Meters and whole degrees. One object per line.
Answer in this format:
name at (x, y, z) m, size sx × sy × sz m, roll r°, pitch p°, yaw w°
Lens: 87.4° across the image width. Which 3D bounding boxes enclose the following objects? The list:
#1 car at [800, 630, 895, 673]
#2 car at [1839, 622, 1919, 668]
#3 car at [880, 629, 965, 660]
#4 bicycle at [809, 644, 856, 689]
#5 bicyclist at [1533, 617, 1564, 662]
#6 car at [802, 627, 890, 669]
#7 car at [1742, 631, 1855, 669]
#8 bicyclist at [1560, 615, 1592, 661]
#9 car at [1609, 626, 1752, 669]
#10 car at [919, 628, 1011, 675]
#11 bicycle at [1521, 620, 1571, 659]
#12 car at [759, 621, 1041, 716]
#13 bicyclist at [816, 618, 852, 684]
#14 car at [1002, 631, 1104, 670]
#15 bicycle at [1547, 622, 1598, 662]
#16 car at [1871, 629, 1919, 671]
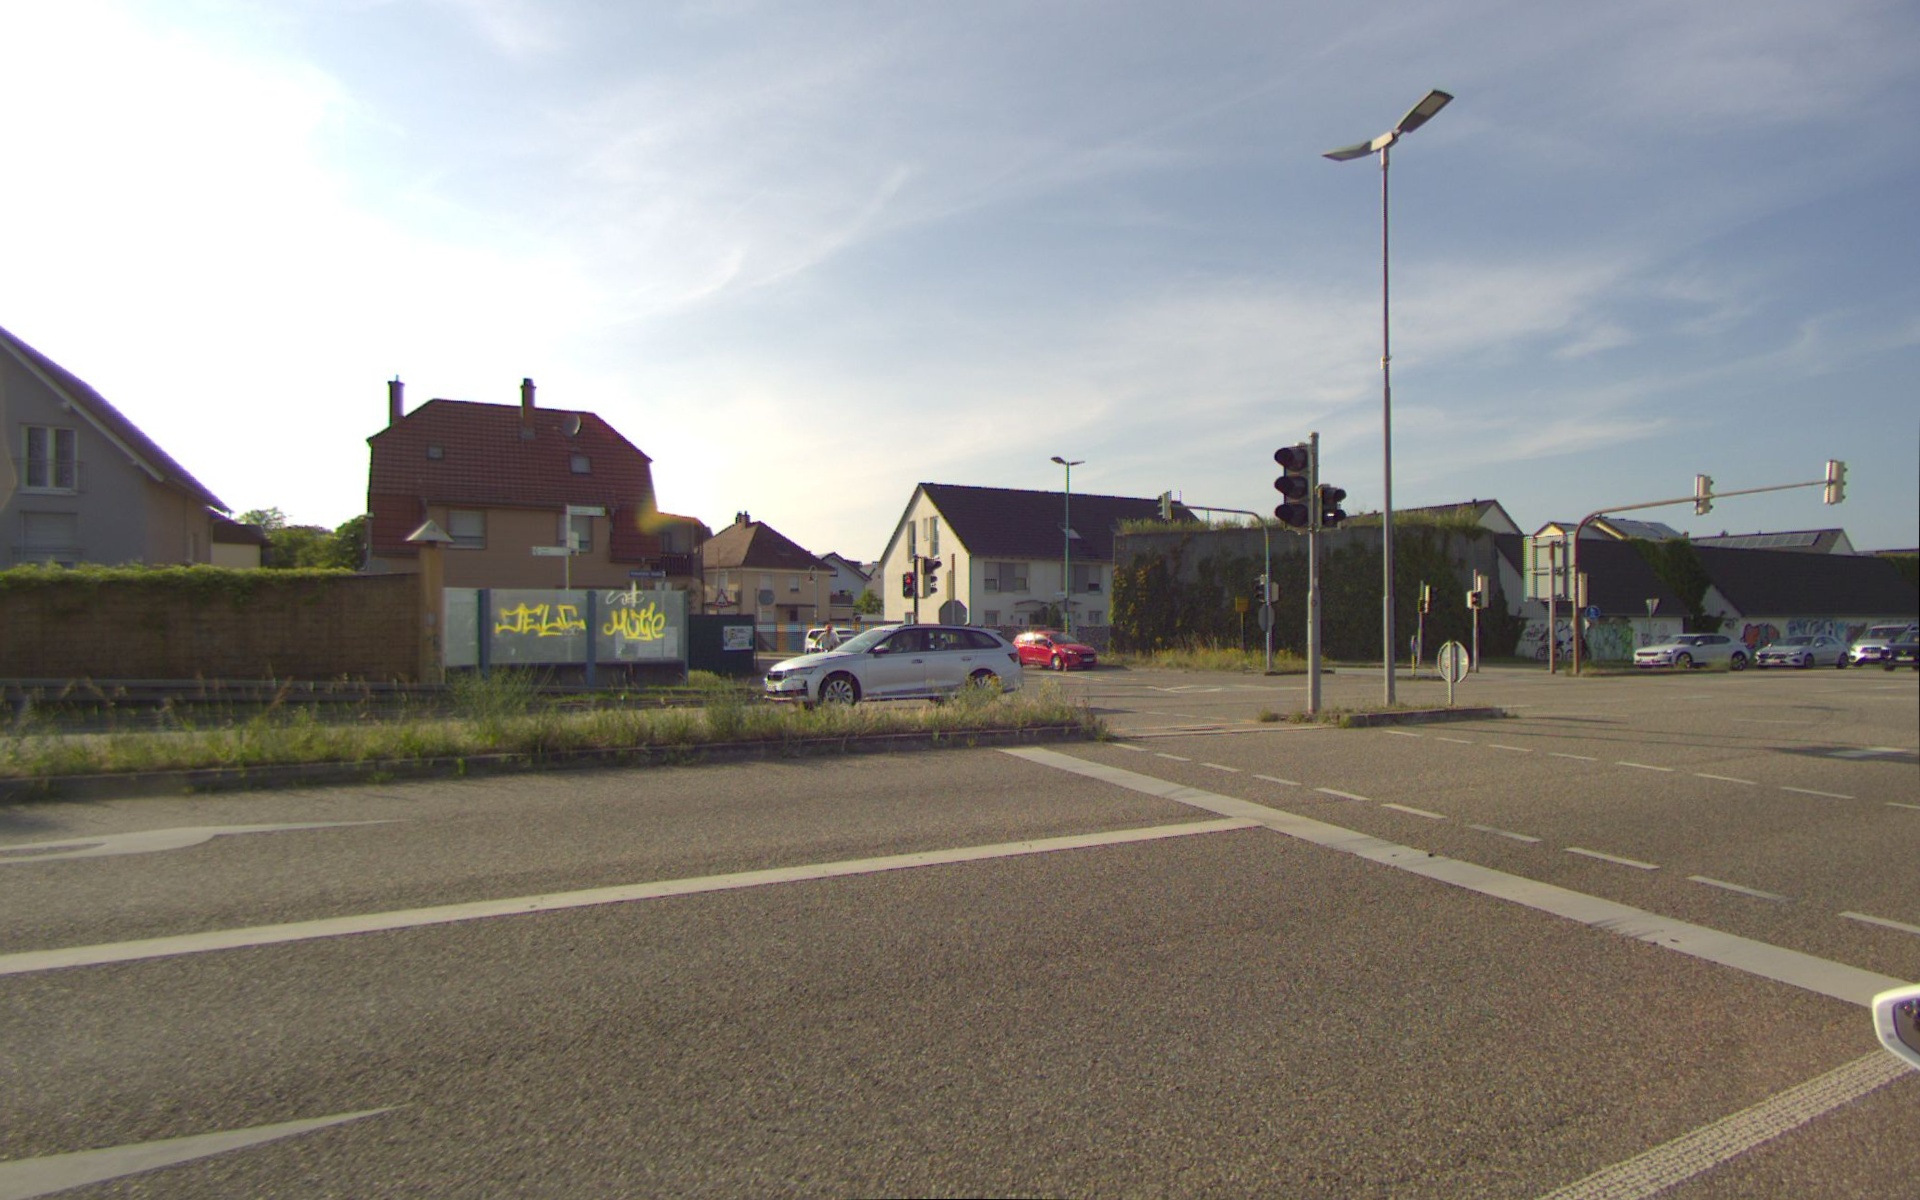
car at (-4.798, 2.127, 42.683) m, size 3.941 × 1.585 × 1.816 m, roll 1°, pitch 0°, yaw 41°
car at (41.877, 2.045, 44.910) m, size 5.382 × 1.953 × 1.902 m, roll 1°, pitch -4°, yaw -26°
car at (-1.668, 1.931, 44.470) m, size 3.562 × 1.193 × 1.747 m, roll 1°, pitch 0°, yaw 42°
bicycle at (-3.630, 1.857, 28.459) m, size 0.889 × 1.207 × 2.154 m, roll 1°, pitch -2°, yaw -19°
bicyclist at (27.280, 1.805, 46.559) m, size 1.049 × 2.040 × 0.767 m, roll 1°, pitch 0°, yaw -28°
car at (-5.597, 2.309, 49.068) m, size 4.121 × 1.840 × 1.990 m, roll 1°, pitch 0°, yaw 42°
car at (35.355, 2.121, 42.355) m, size 4.472 × 1.517 × 1.700 m, roll 1°, pitch -4°, yaw -22°
bicyclist at (27.940, 1.736, 45.572) m, size 1.049 × 2.040 × 0.767 m, roll 1°, pitch 0°, yaw -28°
car at (28.774, 1.885, 40.144) m, size 4.677 × 1.517 × 1.952 m, roll 1°, pitch 0°, yaw -11°
car at (0.130, 1.872, 36.319) m, size 1.735 × 1.583 × 3.974 m, roll 1°, pitch -3°, yaw -26°
bicycle at (27.119, 1.822, 46.485) m, size 2.574 × 1.772 × 0.750 m, roll 1°, pitch 0°, yaw -28°
car at (-1.006, 1.159, 17.623) m, size 4.675 × 1.481 × 1.747 m, roll 1°, pitch -3°, yaw -28°
bicyclist at (-3.550, 1.447, 28.208) m, size 0.834 × 1.810 × 0.854 m, roll 1°, pitch -4°, yaw -20°
car at (3.550, 1.977, 38.995) m, size 1.625 × 1.431 × 4.266 m, roll 1°, pitch -4°, yaw -34°
bicycle at (27.761, 1.907, 45.511) m, size 2.574 × 1.772 × 0.750 m, roll 1°, pitch 0°, yaw -28°
car at (36.491, 1.910, 38.368) m, size 4.208 × 1.561 × 1.720 m, roll 2°, pitch -4°, yaw -37°
